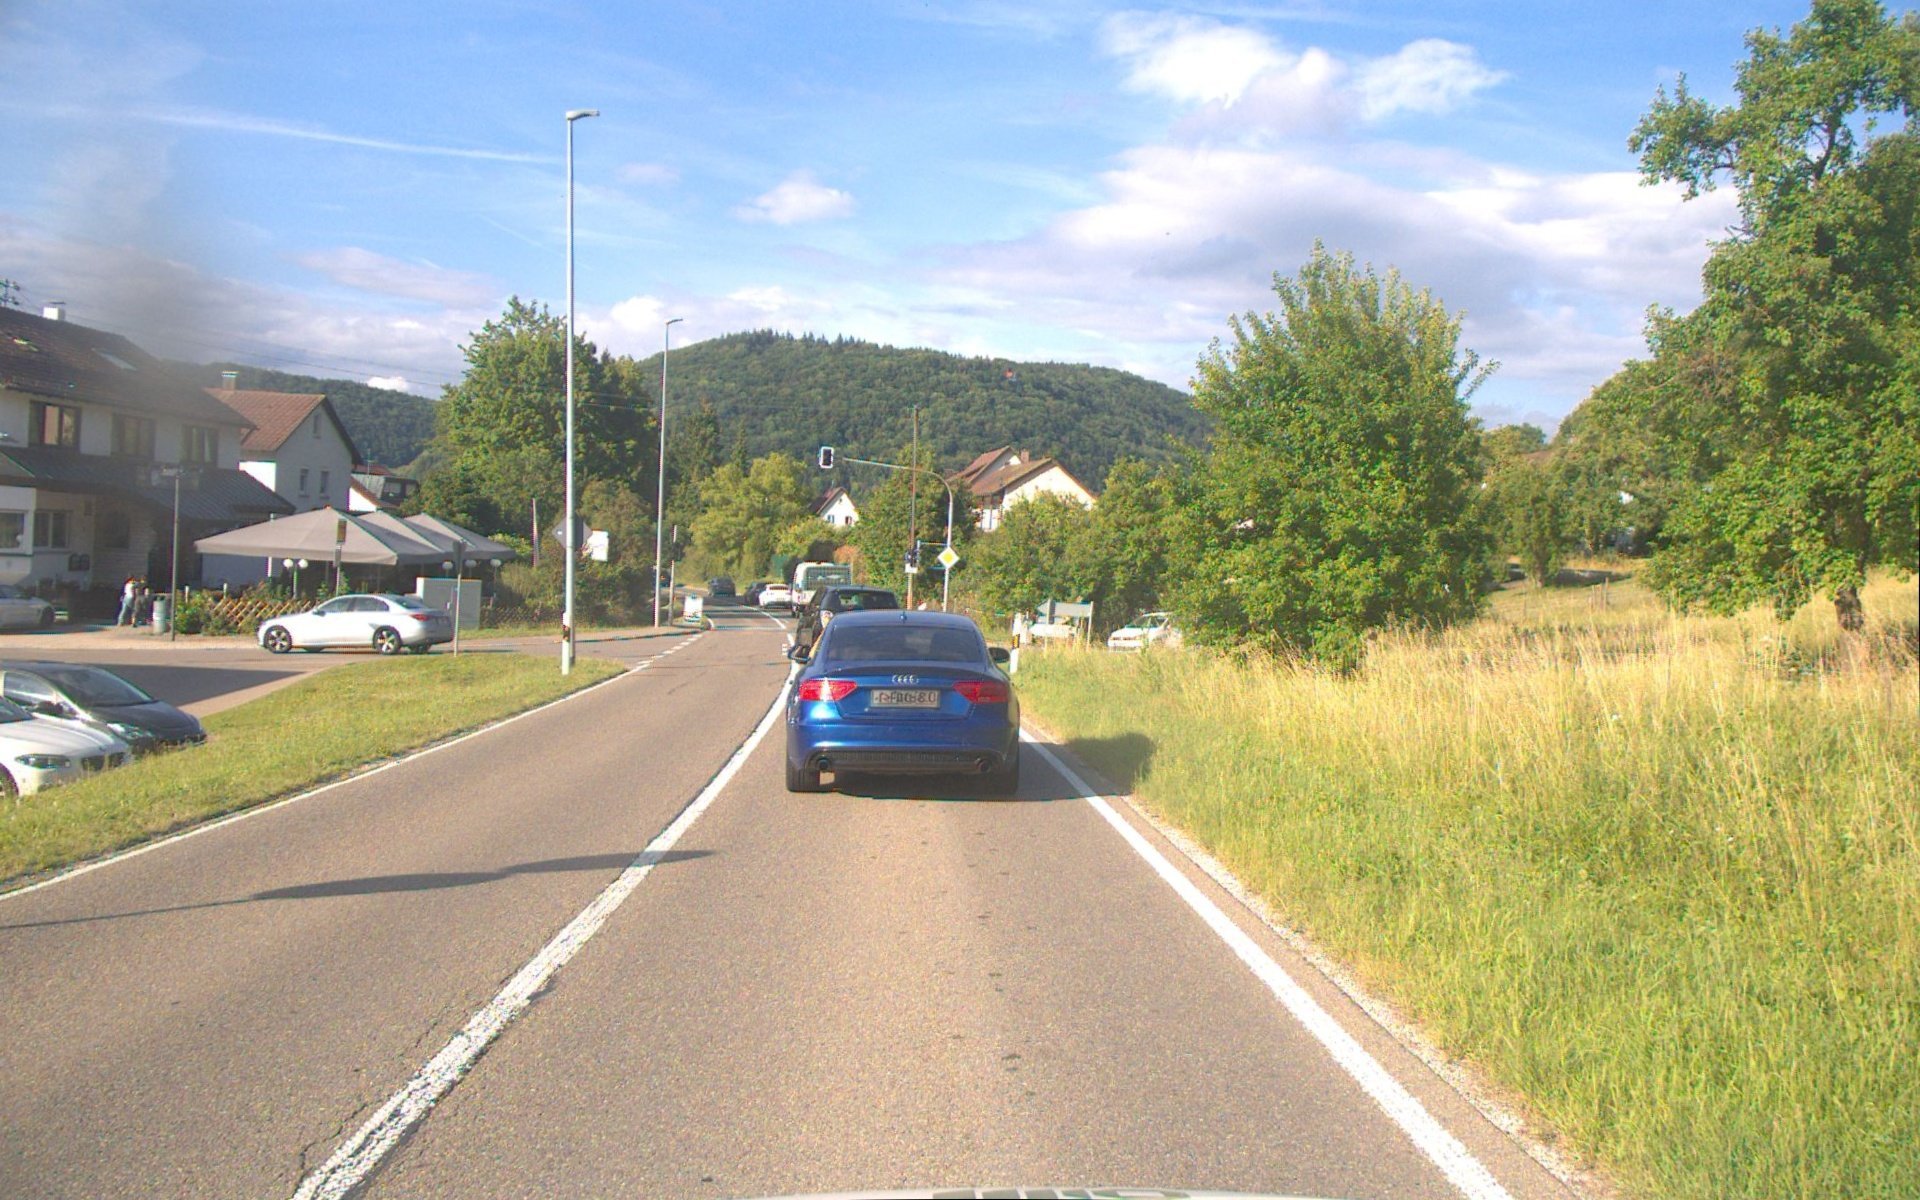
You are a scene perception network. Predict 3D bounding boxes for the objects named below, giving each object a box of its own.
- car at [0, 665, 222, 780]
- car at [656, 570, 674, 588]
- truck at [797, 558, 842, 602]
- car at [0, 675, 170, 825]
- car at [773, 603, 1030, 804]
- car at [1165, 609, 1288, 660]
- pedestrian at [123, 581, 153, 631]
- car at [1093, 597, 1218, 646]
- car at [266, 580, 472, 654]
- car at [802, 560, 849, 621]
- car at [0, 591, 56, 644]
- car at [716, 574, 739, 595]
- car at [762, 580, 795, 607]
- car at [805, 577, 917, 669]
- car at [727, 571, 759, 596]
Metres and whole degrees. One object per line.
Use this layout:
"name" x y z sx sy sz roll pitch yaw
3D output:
"car" -12.244 1.595 22.186 3.902 1.333 1.762 1 -1 7
"car" -28.439 -1.990 159.359 1.597 1.604 3.670 1 -1 -11
"truck" -6.878 -0.919 80.446 1.667 1.988 5.908 1 -1 -10
"car" -12.080 1.680 19.558 4.711 1.520 1.882 1 -1 11
"car" -0.335 0.751 13.703 1.758 1.412 4.001 0 -1 3
"car" 8.350 1.078 51.662 3.684 1.503 1.611 2 -1 -33
"pedestrian" -25.235 0.185 50.760 0.596 1.529 0.589 1 -1 -1
"car" 6.423 0.709 54.176 4.019 1.534 1.828 2 -1 -40
"car" -14.421 0.407 40.463 4.354 1.668 1.812 1 -1 9
"car" -5.199 -0.342 63.771 1.712 2.234 3.996 1 -1 -5
"car" -27.528 0.483 46.973 1.524 1.475 3.999 1 -1 -1
"car" -17.868 -1.191 127.111 1.666 1.516 3.520 1 -1 -8
"car" -10.668 -0.361 97.031 1.667 1.516 3.518 1 -1 -10
"car" -1.877 0.449 32.539 1.709 1.668 4.001 1 -1 3
"car" -14.015 -1.053 106.804 1.669 1.516 3.514 1 -1 -14
